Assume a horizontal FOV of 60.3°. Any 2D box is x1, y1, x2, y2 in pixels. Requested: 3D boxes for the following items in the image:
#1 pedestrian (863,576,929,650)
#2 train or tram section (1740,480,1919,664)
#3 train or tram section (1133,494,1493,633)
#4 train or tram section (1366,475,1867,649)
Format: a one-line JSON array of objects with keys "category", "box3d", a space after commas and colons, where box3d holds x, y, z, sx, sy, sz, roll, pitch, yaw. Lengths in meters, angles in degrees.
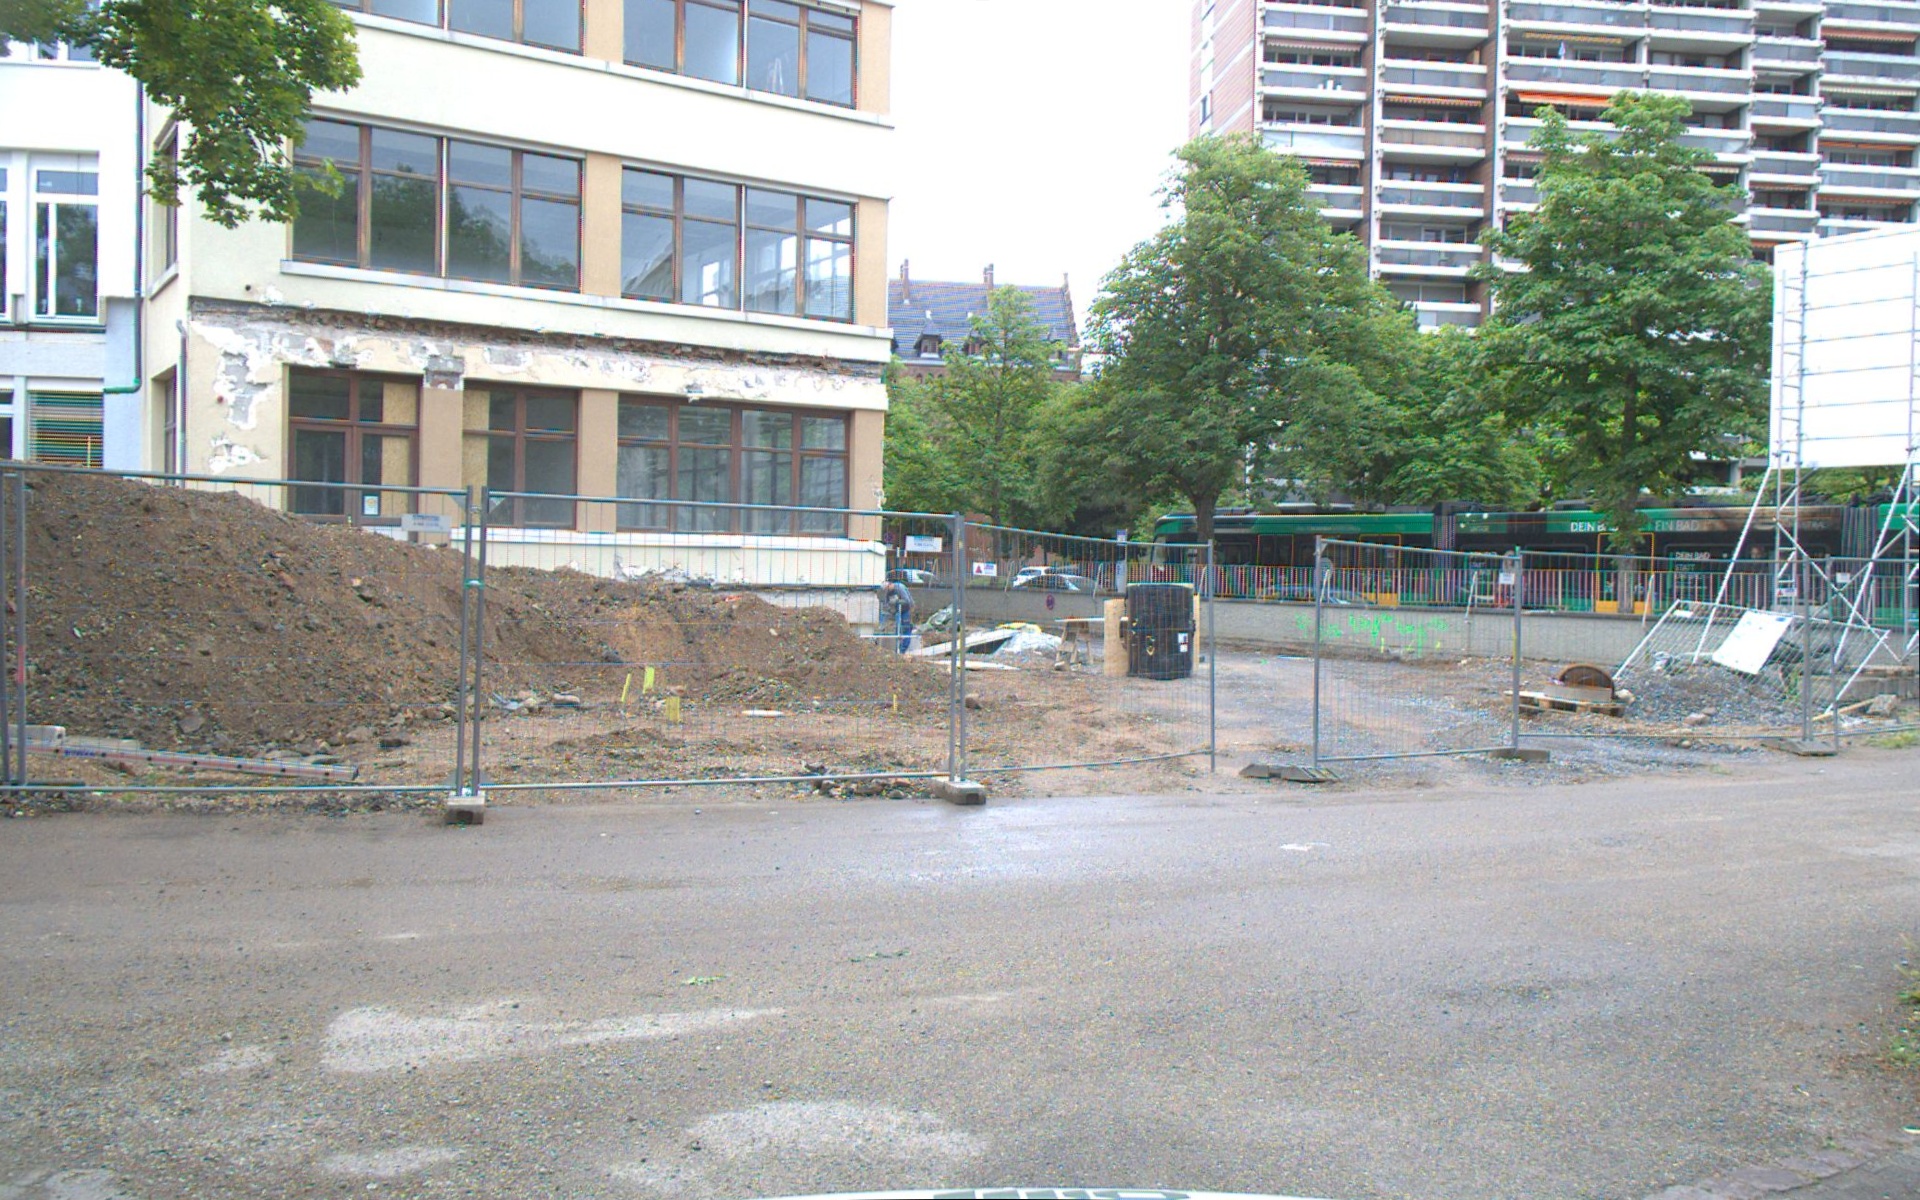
[{"category": "pedestrian", "box3d": [-1.291, 0.258, 33.301, 0.972, 1.463, 0.918, 1, 0, -37]}, {"category": "train or tram section", "box3d": [22.144, -0.474, 30.844, 2.635, 3.677, 14.605, 0, 1, -33]}, {"category": "train or tram section", "box3d": [10.088, -1.092, 49.546, 2.635, 3.677, 12.317, 0, 1, -33]}, {"category": "train or tram section", "box3d": [15.597, -0.926, 40.991, 2.635, 3.677, 12.317, 0, 1, -33]}]
